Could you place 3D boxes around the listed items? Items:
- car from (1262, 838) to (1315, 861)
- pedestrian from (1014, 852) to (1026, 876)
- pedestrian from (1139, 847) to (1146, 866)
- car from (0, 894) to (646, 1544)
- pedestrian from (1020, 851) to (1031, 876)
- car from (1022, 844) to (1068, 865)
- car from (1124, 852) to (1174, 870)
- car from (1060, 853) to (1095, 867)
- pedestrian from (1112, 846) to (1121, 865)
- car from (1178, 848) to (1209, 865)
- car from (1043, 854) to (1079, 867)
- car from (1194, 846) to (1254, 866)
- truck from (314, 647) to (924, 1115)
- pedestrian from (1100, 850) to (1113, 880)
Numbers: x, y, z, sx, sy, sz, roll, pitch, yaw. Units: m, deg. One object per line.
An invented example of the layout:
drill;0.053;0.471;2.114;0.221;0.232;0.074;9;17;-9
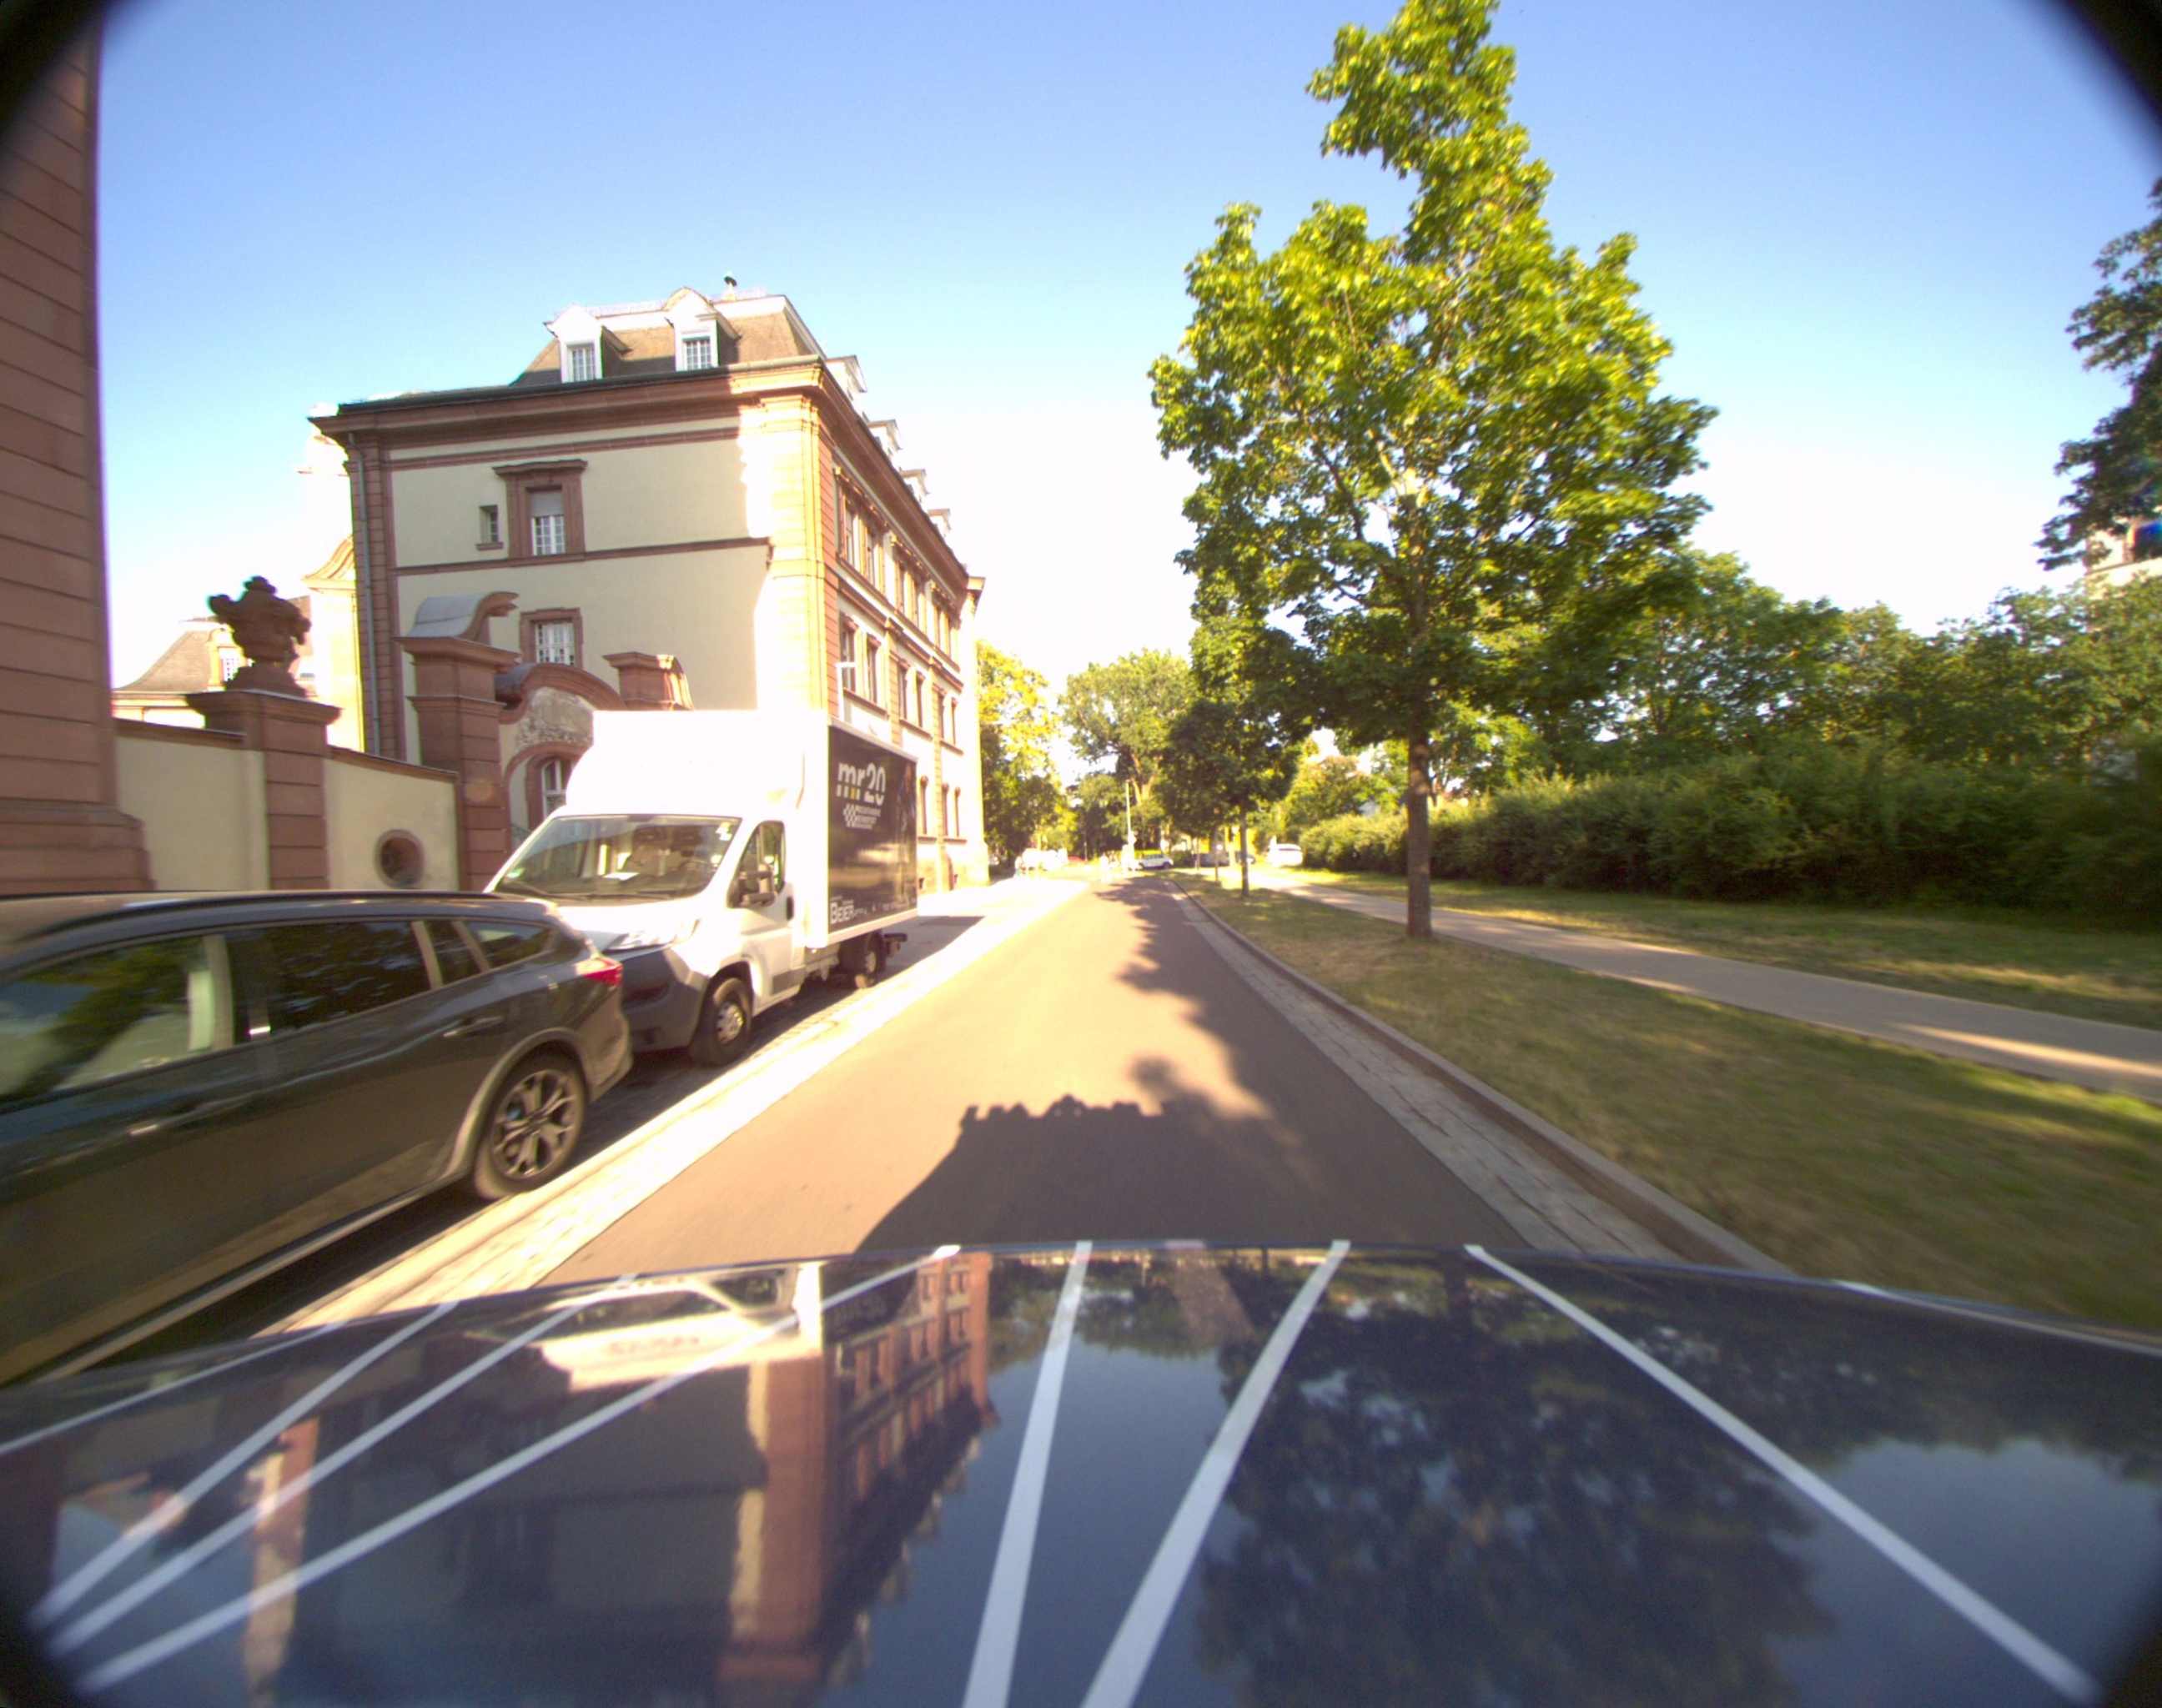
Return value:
car;18.811;-0.425;68.928;4.240;1.905;1.760;-2;0;-13
pedestrian;-4.633;0.766;57.828;0.717;1.829;0.789;-2;-1;-11
pedestrian;6.048;0.240;74.454;0.435;1.764;0.666;-3;0;-8
car;-3.643;1.016;2.298;1.772;1.522;4.573;0;0;4
pedestrian;-4.277;0.746;58.526;0.613;1.828;0.726;-2;-2;-11
car;-4.929;0.047;103.895;5.913;2.685;2.218;-3;0;-15
car;6.349;0.661;71.072;4.347;1.525;1.782;-2;-1;-11
car;-0.383;0.679;86.850;3.681;1.412;1.716;-3;0;-15
pedestrian;3.736;0.161;80.025;0.615;1.906;0.721;-1;-3;-36
car;11.328;0.259;76.779;1.646;1.508;3.993;-3;2;-15
car;-2.439;0.798;92.134;4.061;1.412;1.716;-3;0;-15
car;12.689;0.162;67.291;4.839;1.549;1.866;-2;0;-13
truck;-3.712;0.180;8.111;2.630;3.102;6.088;0;0;2
pedestrian;1.492;0.655;44.505;0.534;1.709;1.002;-2;1;-12
